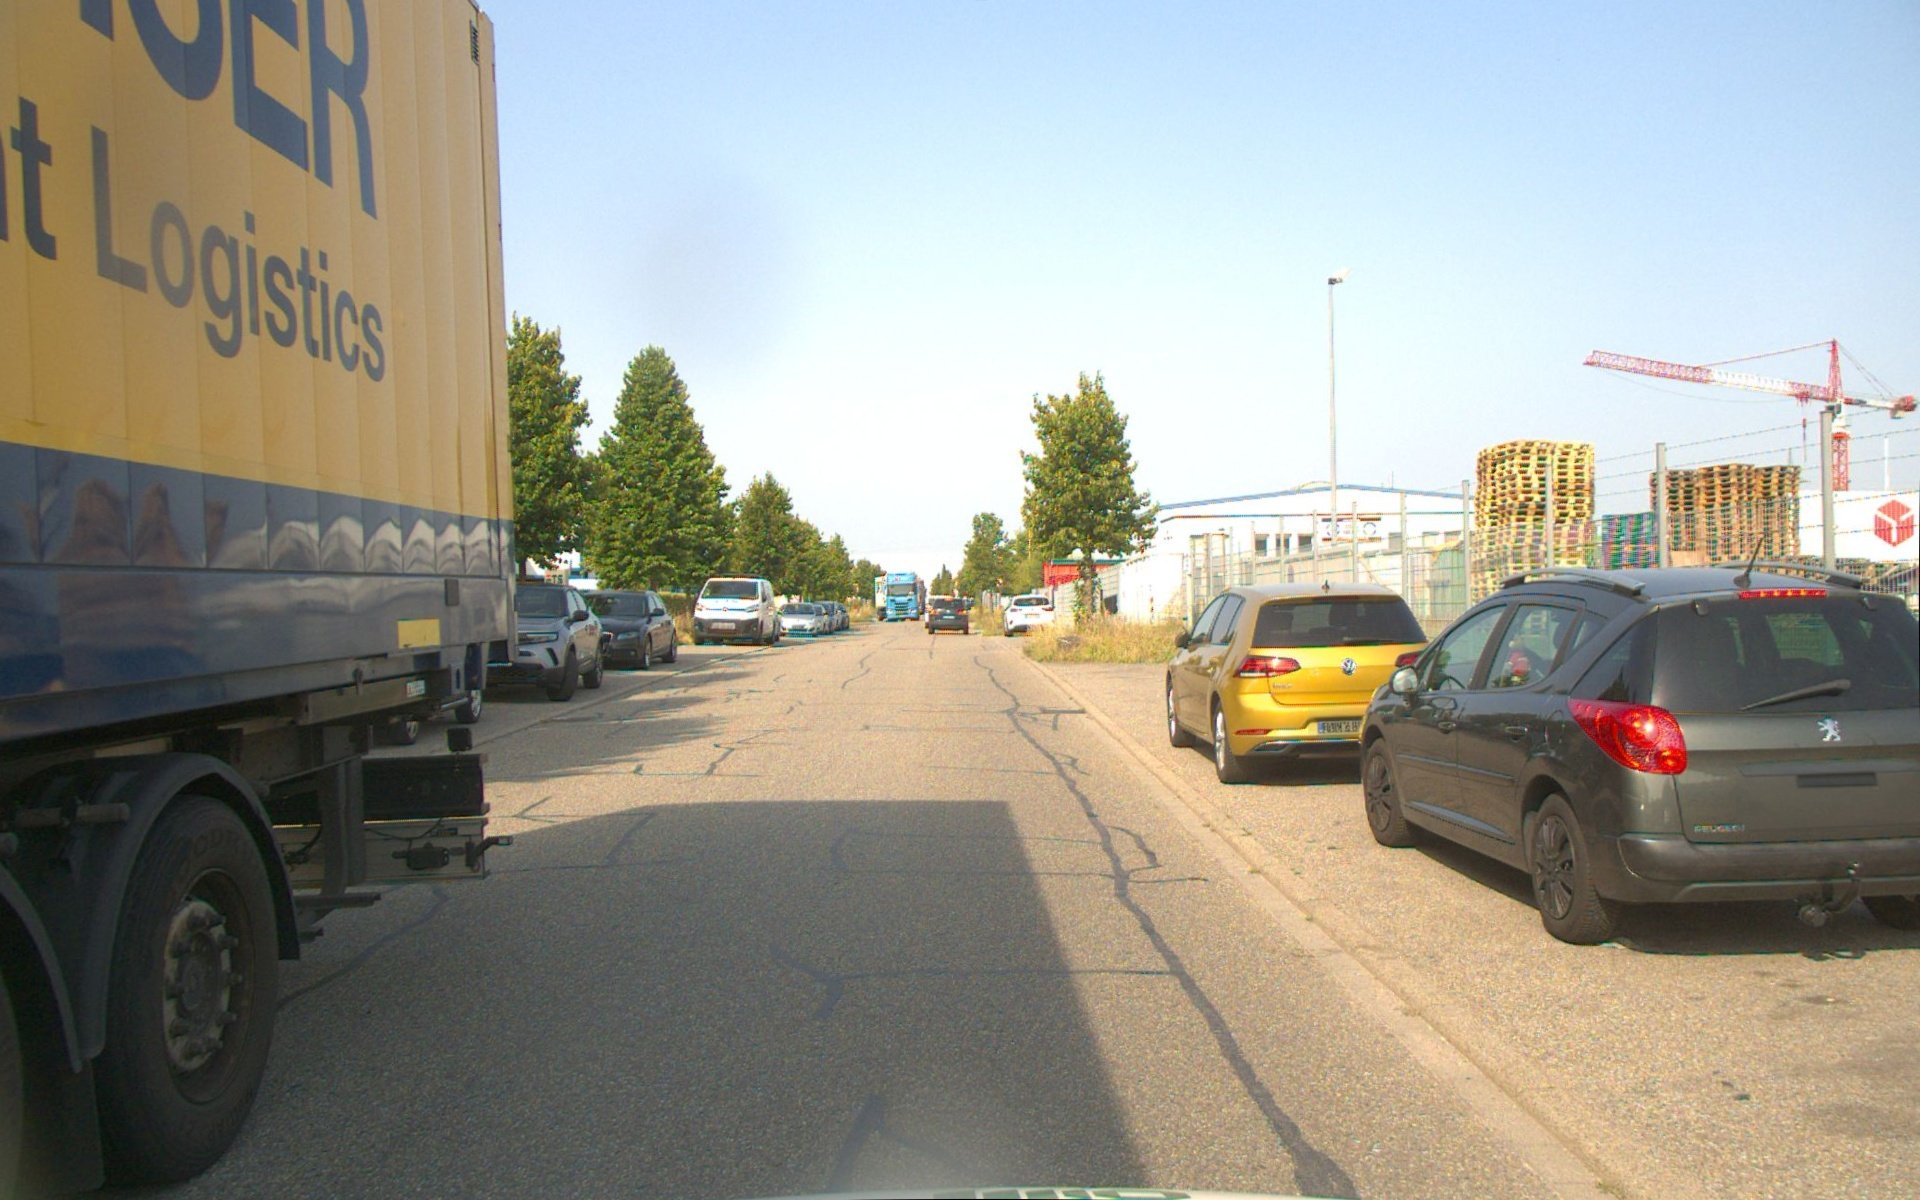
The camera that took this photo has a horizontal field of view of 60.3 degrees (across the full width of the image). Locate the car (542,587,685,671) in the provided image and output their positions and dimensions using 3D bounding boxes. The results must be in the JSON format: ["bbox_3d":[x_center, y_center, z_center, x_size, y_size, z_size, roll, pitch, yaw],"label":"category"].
[{"bbox_3d":[-6.446,0.499,31.178,1.795,1.440,4.113,1,0,0],"label":"car"}]

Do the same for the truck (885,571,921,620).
[{"bbox_3d":[-4.583,-0.375,133.151,2.821,3.826,6.081,0,0,-2],"label":"truck"}]

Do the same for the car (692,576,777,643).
[{"bbox_3d":[-6.303,0.244,46.614,1.795,1.793,4.049,1,0,0],"label":"car"}]

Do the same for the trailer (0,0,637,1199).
[{"bbox_3d":[-2.833,-0.601,3.892,2.448,4.217,8.495,-2,0,-1],"label":"trailer"}]

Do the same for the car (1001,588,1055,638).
[{"bbox_3d":[2.407,0.447,59.474,1.680,1.709,3.948,0,0,-2],"label":"car"}]

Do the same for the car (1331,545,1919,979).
[{"bbox_3d":[3.209,0.573,8.095,1.680,1.541,4.002,-3,0,-3],"label":"car"}]

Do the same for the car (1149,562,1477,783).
[{"bbox_3d":[2.724,0.501,13.736,1.680,1.480,4.186,-3,0,-2],"label":"car"}]

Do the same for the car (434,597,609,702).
[{"bbox_3d":[-6.038,0.637,23.206,1.798,1.310,4.043,1,0,-7],"label":"car"}]

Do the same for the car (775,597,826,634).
[{"bbox_3d":[-6.866,0.644,71.422,1.769,1.522,3.936,0,0,0],"label":"car"}]

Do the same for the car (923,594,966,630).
[{"bbox_3d":[-0.758,0.556,77.536,1.843,1.614,4.111,-1,0,-3],"label":"car"}]
